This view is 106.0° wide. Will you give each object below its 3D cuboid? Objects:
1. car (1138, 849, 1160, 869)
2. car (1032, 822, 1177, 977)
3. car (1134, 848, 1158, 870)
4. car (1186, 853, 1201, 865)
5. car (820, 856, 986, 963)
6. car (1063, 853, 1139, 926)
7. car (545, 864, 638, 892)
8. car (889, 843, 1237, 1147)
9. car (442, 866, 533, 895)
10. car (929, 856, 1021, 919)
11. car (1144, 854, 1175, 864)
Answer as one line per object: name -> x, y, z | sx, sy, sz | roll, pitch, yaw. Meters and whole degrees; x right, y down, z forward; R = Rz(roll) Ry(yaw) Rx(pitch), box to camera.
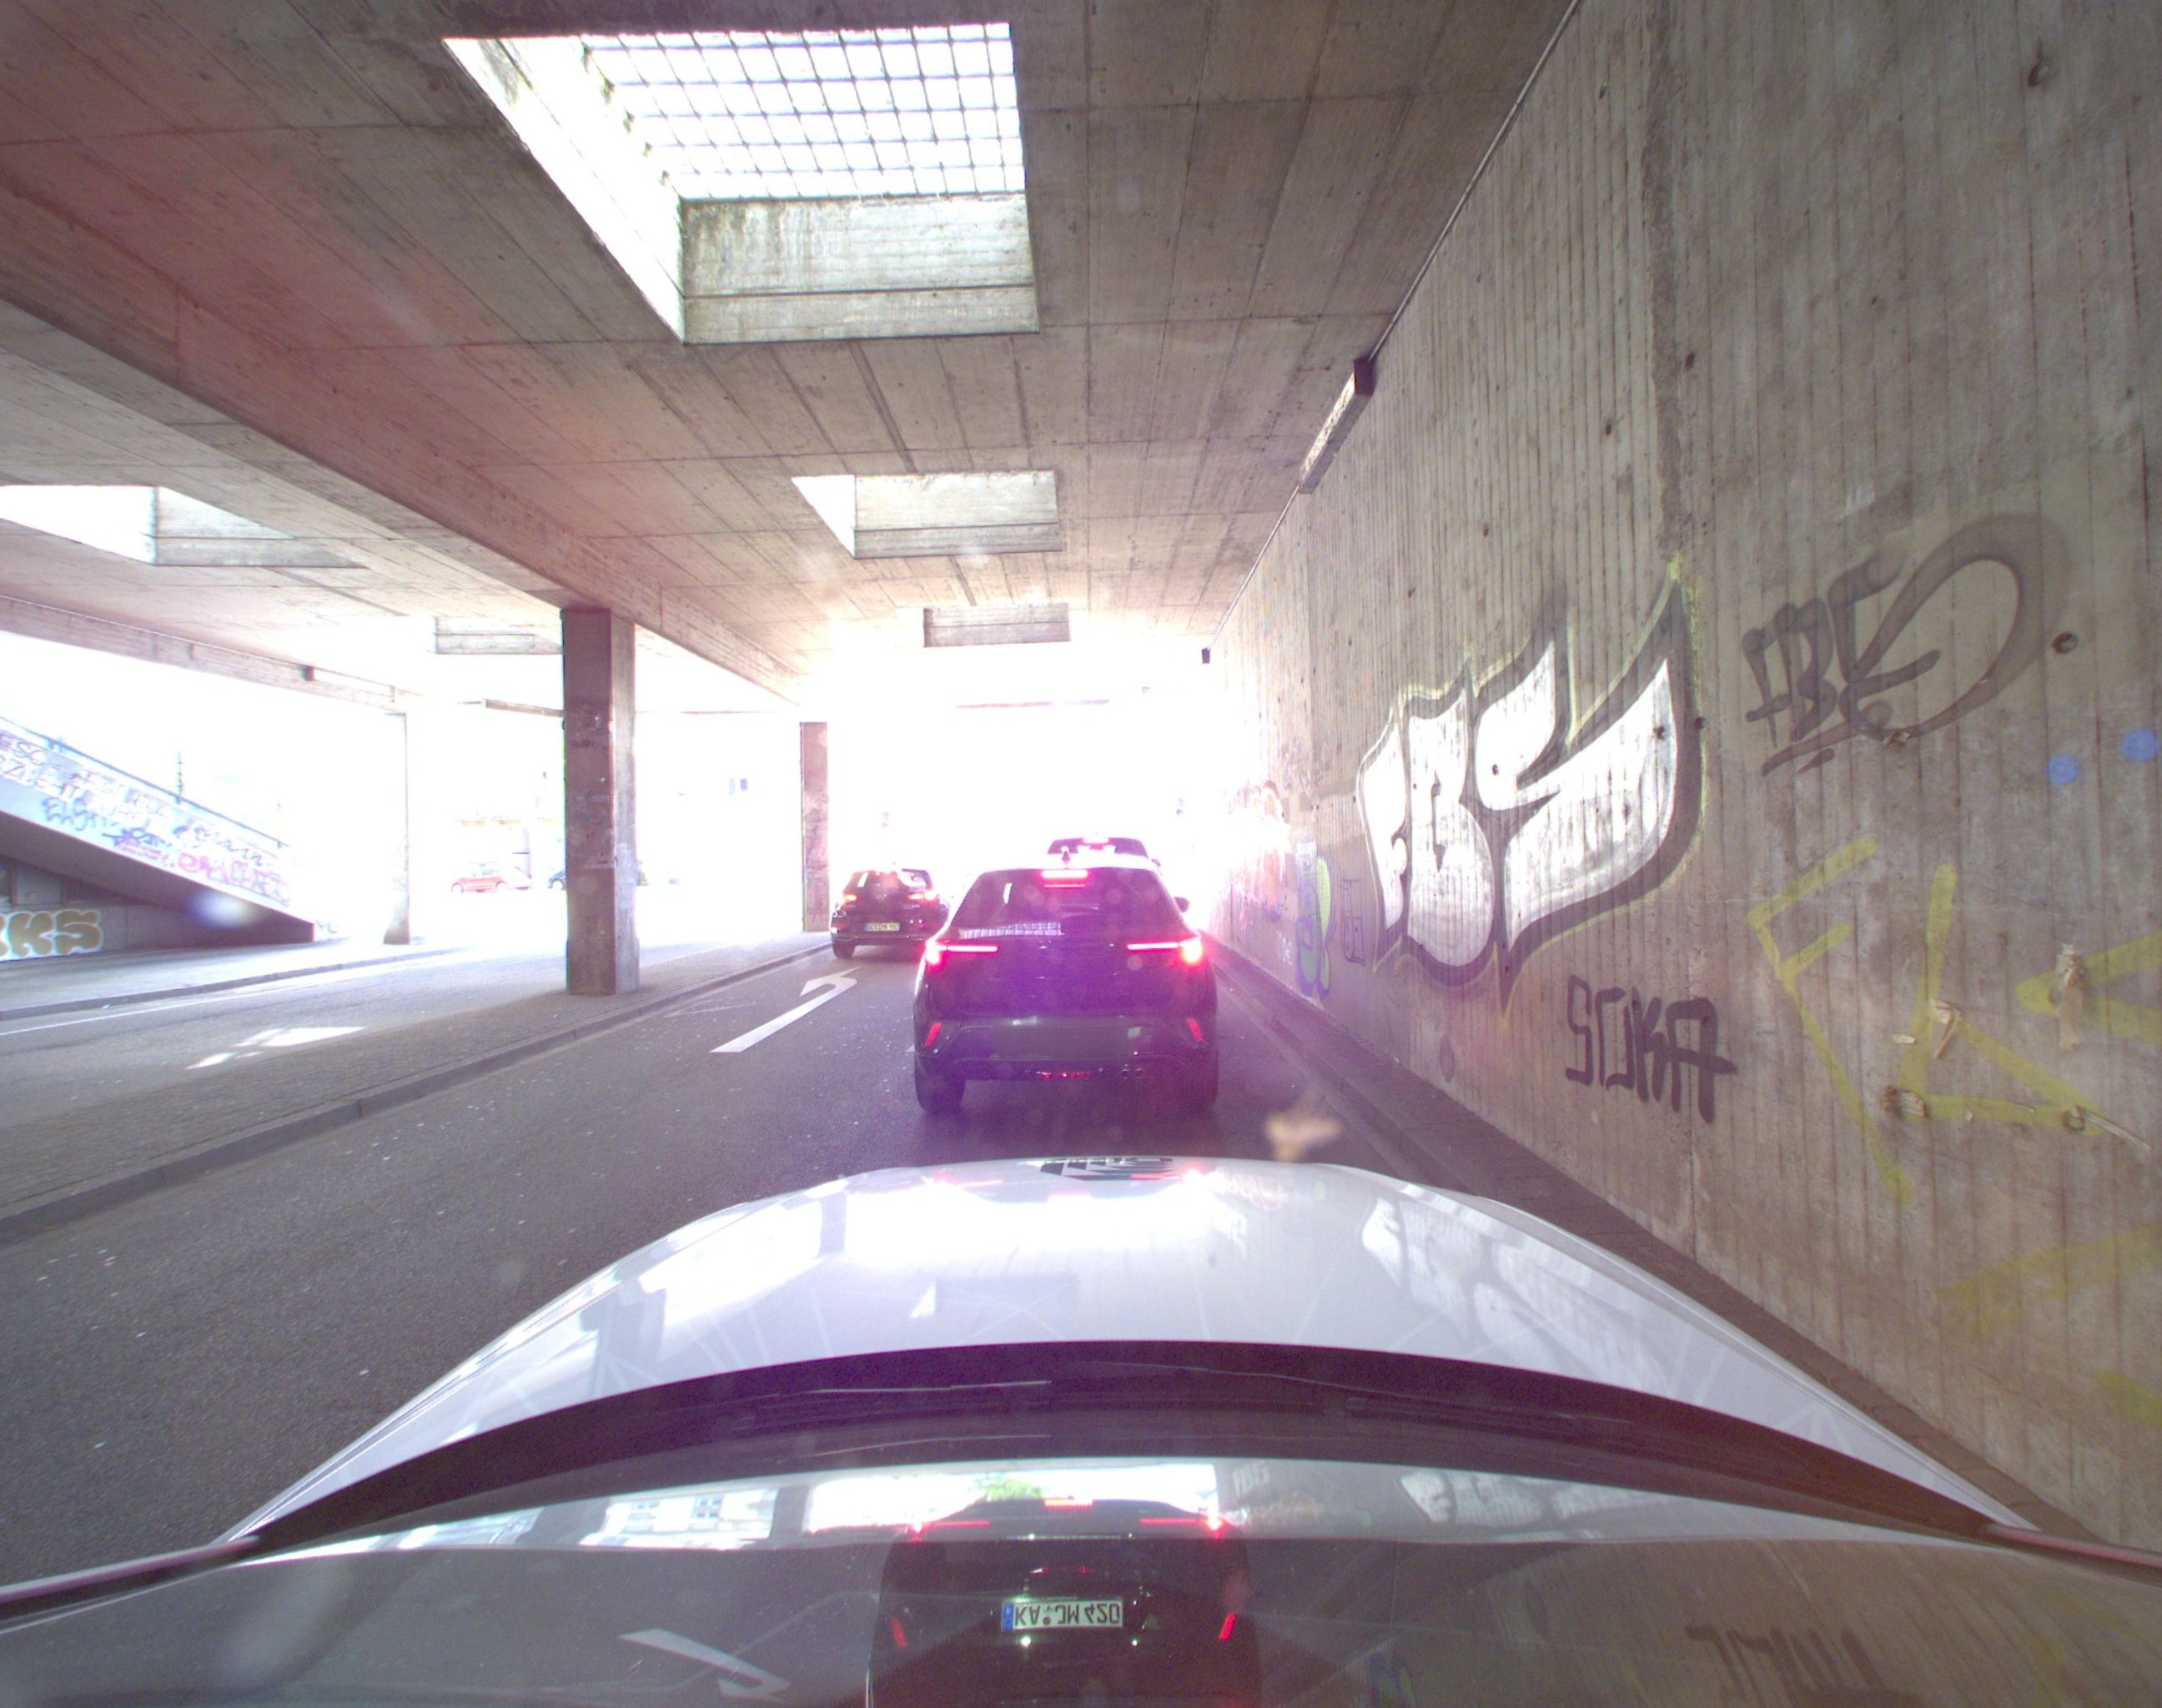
car -> 5.757, 0.426, 68.347 | 1.745, 1.667, 3.950 | 0, -1, 6
car -> 0.355, 0.567, 12.156 | 1.755, 1.883, 4.148 | -1, 0, 2
car -> 4.969, 0.382, 62.243 | 1.745, 1.667, 3.950 | 0, -1, 6
car -> 16.002, 0.740, 115.542 | 1.742, 1.667, 3.958 | -1, -1, 13
car -> -2.750, 0.800, 13.476 | 1.755, 1.480, 3.846 | -1, 0, 2
car -> 0.491, 0.762, 19.374 | 1.603, 1.513, 4.055 | -1, 0, 2
car -> -27.172, 1.321, 45.285 | 4.096, 1.475, 1.737 | -1, -1, 0
car -> -0.030, 0.726, 6.217 | 1.755, 1.531, 4.091 | -1, 0, 2
car -> -32.928, 1.443, 45.263 | 3.748, 1.475, 1.749 | -1, -1, 0
car -> -2.661, 0.796, 21.204 | 1.755, 1.480, 3.846 | -1, 0, 2
car -> 12.850, 0.862, 133.679 | 4.814, 1.667, 1.812 | 0, -1, -19
